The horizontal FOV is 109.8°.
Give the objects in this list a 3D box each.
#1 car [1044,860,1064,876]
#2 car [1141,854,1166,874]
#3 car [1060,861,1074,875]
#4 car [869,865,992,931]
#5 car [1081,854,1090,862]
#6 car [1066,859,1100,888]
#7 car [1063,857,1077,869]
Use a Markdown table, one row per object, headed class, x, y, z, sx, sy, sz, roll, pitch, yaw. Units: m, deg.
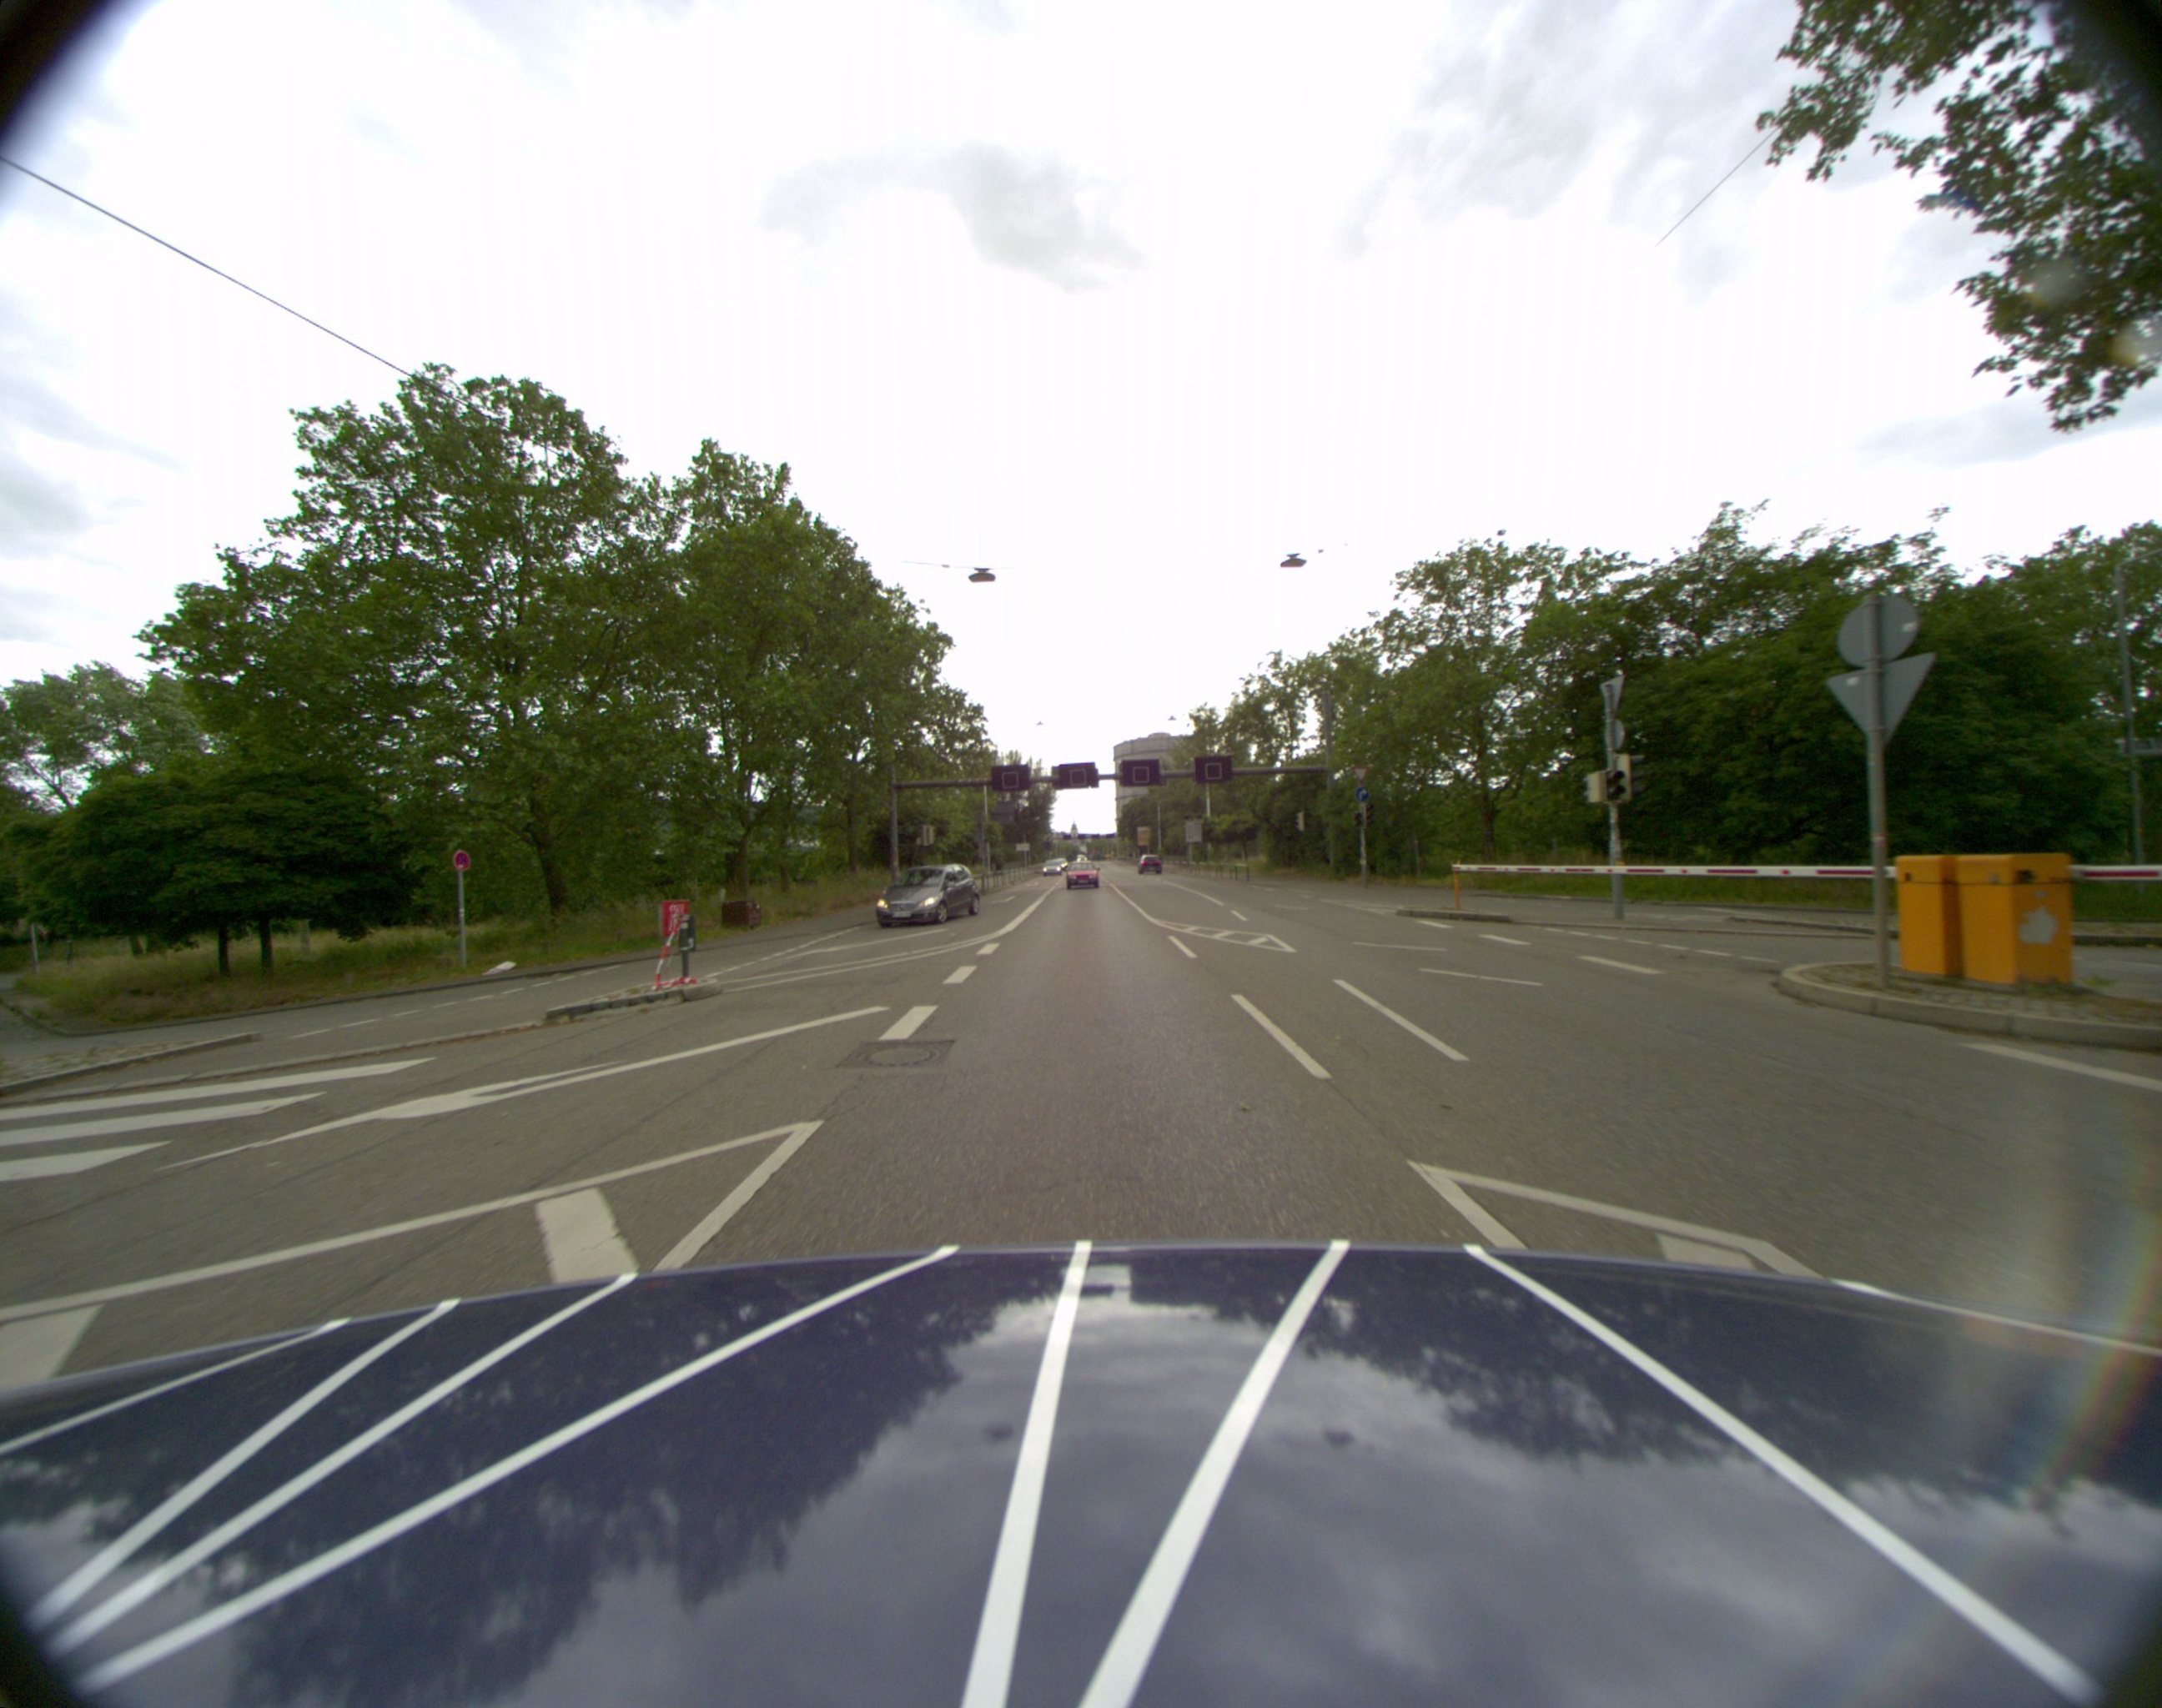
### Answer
| class | x | y | z | sx | sy | sz | roll | pitch | yaw |
| --- | --- | --- | --- | --- | --- | --- | --- | --- | --- |
| car | -2.684 | 1.403 | 76.835 | 1.771 | 1.564 | 4.000 | -2 | 0 | 0 |
| car | 6.405 | 0.854 | 67.306 | 1.998 | 1.650 | 4.518 | -1 | 0 | 3 |
| car | -1.850 | 1.848 | 101.860 | 1.776 | 1.696 | 4.000 | -4 | 0 | -1 |
| car | -4.115 | 1.172 | 21.492 | 1.829 | 1.606 | 4.039 | -3 | -1 | 14 |
| car | 1.135 | 0.885 | 184.610 | 1.998 | 1.792 | 4.001 | -4 | 0 | 3 |
| car | 0.119 | 1.017 | 40.373 | 1.696 | 1.434 | 4.000 | -1 | -1 | 0 |
| car | -1.747 | 1.457 | 120.412 | 1.998 | 1.775 | 4.001 | -2 | -1 | 1 |
